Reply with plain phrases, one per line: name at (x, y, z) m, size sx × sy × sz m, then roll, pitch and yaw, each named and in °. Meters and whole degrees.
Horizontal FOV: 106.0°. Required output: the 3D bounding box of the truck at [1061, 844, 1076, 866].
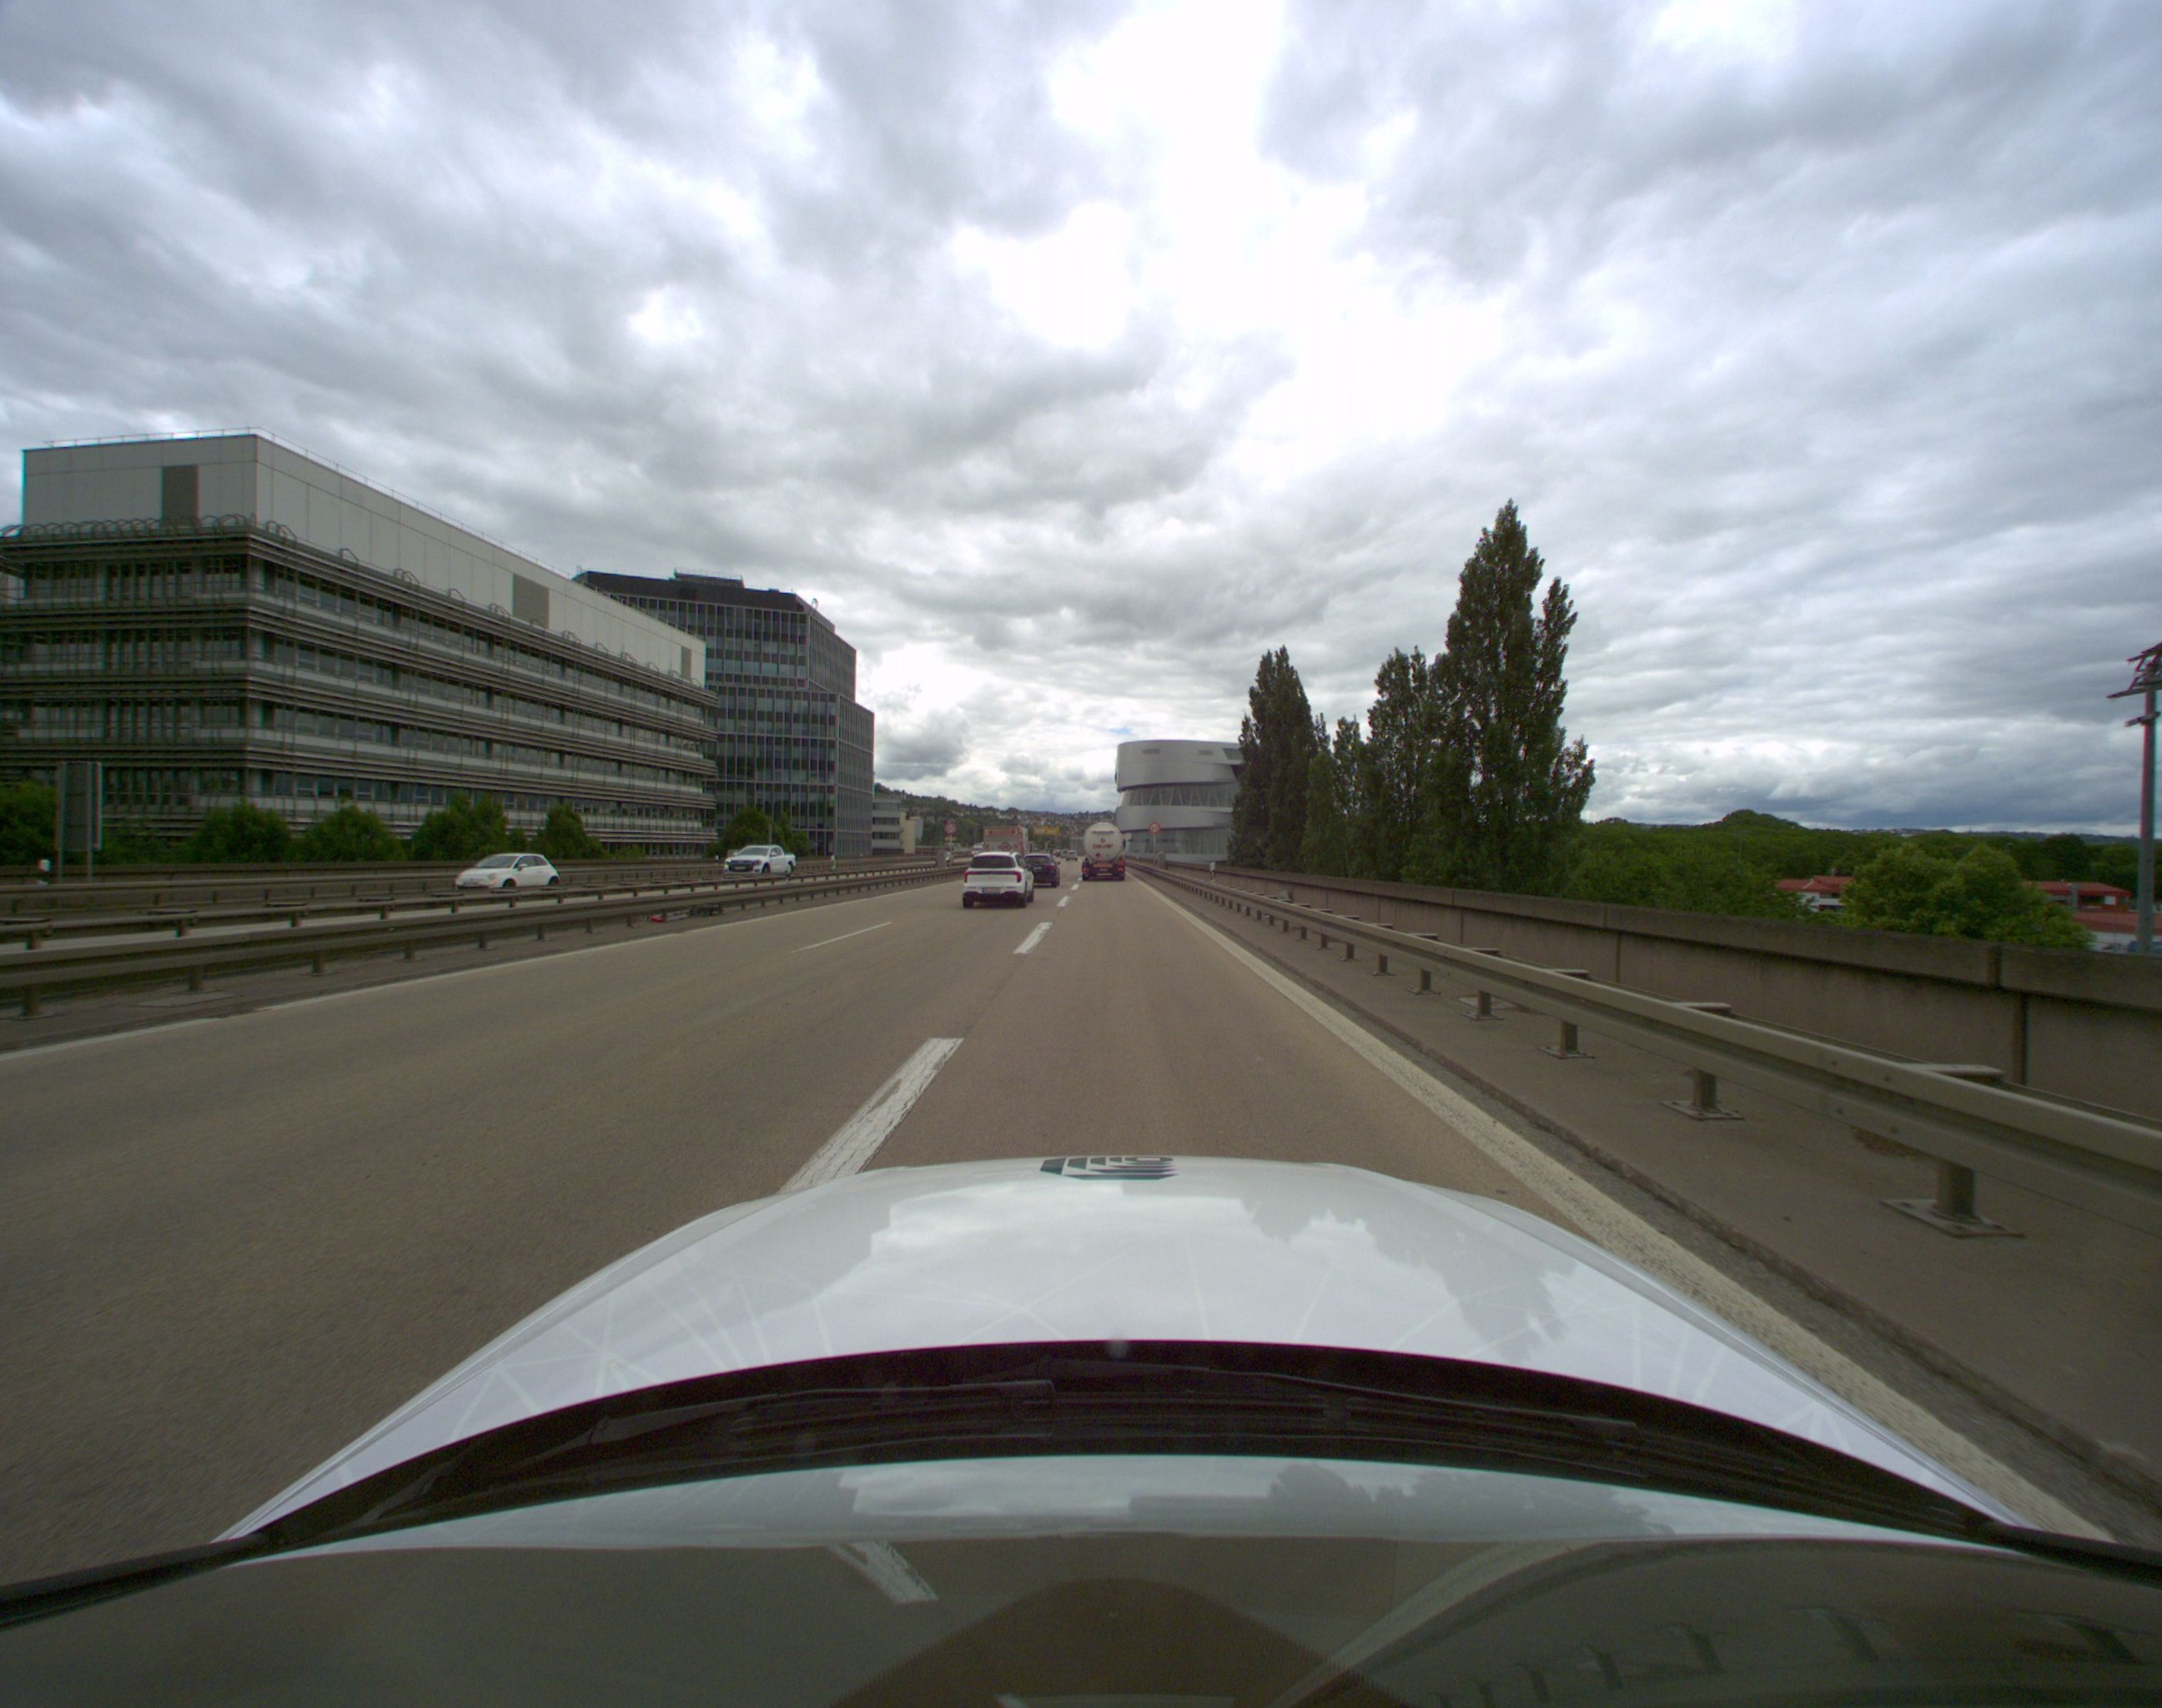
truck at (-2.570, 0.194, 172.708) m, size 3.047 × 4.562 × 8.301 m, roll 0°, pitch 0°, yaw 0°

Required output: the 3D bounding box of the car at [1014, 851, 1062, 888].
car at (-2.055, 0.735, 39.753) m, size 1.986 × 1.675 × 4.409 m, roll 0°, pitch 0°, yaw 1°

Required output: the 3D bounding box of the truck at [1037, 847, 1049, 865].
truck at (-10.389, 0.567, 220.223) m, size 3.051 × 4.562 × 8.291 m, roll 0°, pitch 0°, yaw -4°

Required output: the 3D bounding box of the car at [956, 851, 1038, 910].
car at (-2.519, 0.775, 25.543) m, size 1.986 × 1.675 × 4.409 m, roll 0°, pitch 0°, yaw 1°

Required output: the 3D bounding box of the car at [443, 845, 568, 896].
car at (-20.312, 0.565, 28.953) m, size 1.677 × 1.650 × 3.776 m, roll 1°, pitch 0°, yaw 1°

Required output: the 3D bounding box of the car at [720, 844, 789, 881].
car at (-16.099, 0.431, 40.325) m, size 1.780 × 1.720 × 3.776 m, roll 1°, pitch 0°, yaw 1°

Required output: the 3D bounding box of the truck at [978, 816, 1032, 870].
truck at (-5.554, -0.745, 60.742) m, size 3.046 × 3.691 × 8.306 m, roll 0°, pitch 0°, yaw 1°

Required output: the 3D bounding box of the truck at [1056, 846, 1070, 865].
truck at (-4.451, 0.372, 196.599) m, size 3.051 × 4.562 × 8.291 m, roll 0°, pitch 0°, yaw -4°

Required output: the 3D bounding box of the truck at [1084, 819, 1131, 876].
truck at (1.784, -0.407, 55.706) m, size 3.004 × 3.657 × 6.274 m, roll 0°, pitch -1°, yaw 1°

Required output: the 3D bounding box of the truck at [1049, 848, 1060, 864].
truck at (-7.748, 0.679, 237.144) m, size 3.051 × 4.562 × 8.291 m, roll 0°, pitch 0°, yaw -4°

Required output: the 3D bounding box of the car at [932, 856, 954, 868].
car at (-16.542, 1.005, 97.494) m, size 1.780 × 1.377 × 4.231 m, roll 1°, pitch 0°, yaw 1°

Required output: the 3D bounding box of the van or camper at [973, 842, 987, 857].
van or camper at (-21.074, -0.850, 169.850) m, size 2.165 × 3.008 × 7.114 m, roll 0°, pitch 0°, yaw -1°

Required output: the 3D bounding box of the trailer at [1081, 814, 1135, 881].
trailer at (1.630, -0.357, 50.564) m, size 3.046 × 3.790 × 8.306 m, roll 0°, pitch 0°, yaw 1°

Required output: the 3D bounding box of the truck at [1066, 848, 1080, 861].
truck at (-1.383, 0.118, 136.058) m, size 2.248 × 2.164 × 5.068 m, roll 0°, pitch 0°, yaw 0°
